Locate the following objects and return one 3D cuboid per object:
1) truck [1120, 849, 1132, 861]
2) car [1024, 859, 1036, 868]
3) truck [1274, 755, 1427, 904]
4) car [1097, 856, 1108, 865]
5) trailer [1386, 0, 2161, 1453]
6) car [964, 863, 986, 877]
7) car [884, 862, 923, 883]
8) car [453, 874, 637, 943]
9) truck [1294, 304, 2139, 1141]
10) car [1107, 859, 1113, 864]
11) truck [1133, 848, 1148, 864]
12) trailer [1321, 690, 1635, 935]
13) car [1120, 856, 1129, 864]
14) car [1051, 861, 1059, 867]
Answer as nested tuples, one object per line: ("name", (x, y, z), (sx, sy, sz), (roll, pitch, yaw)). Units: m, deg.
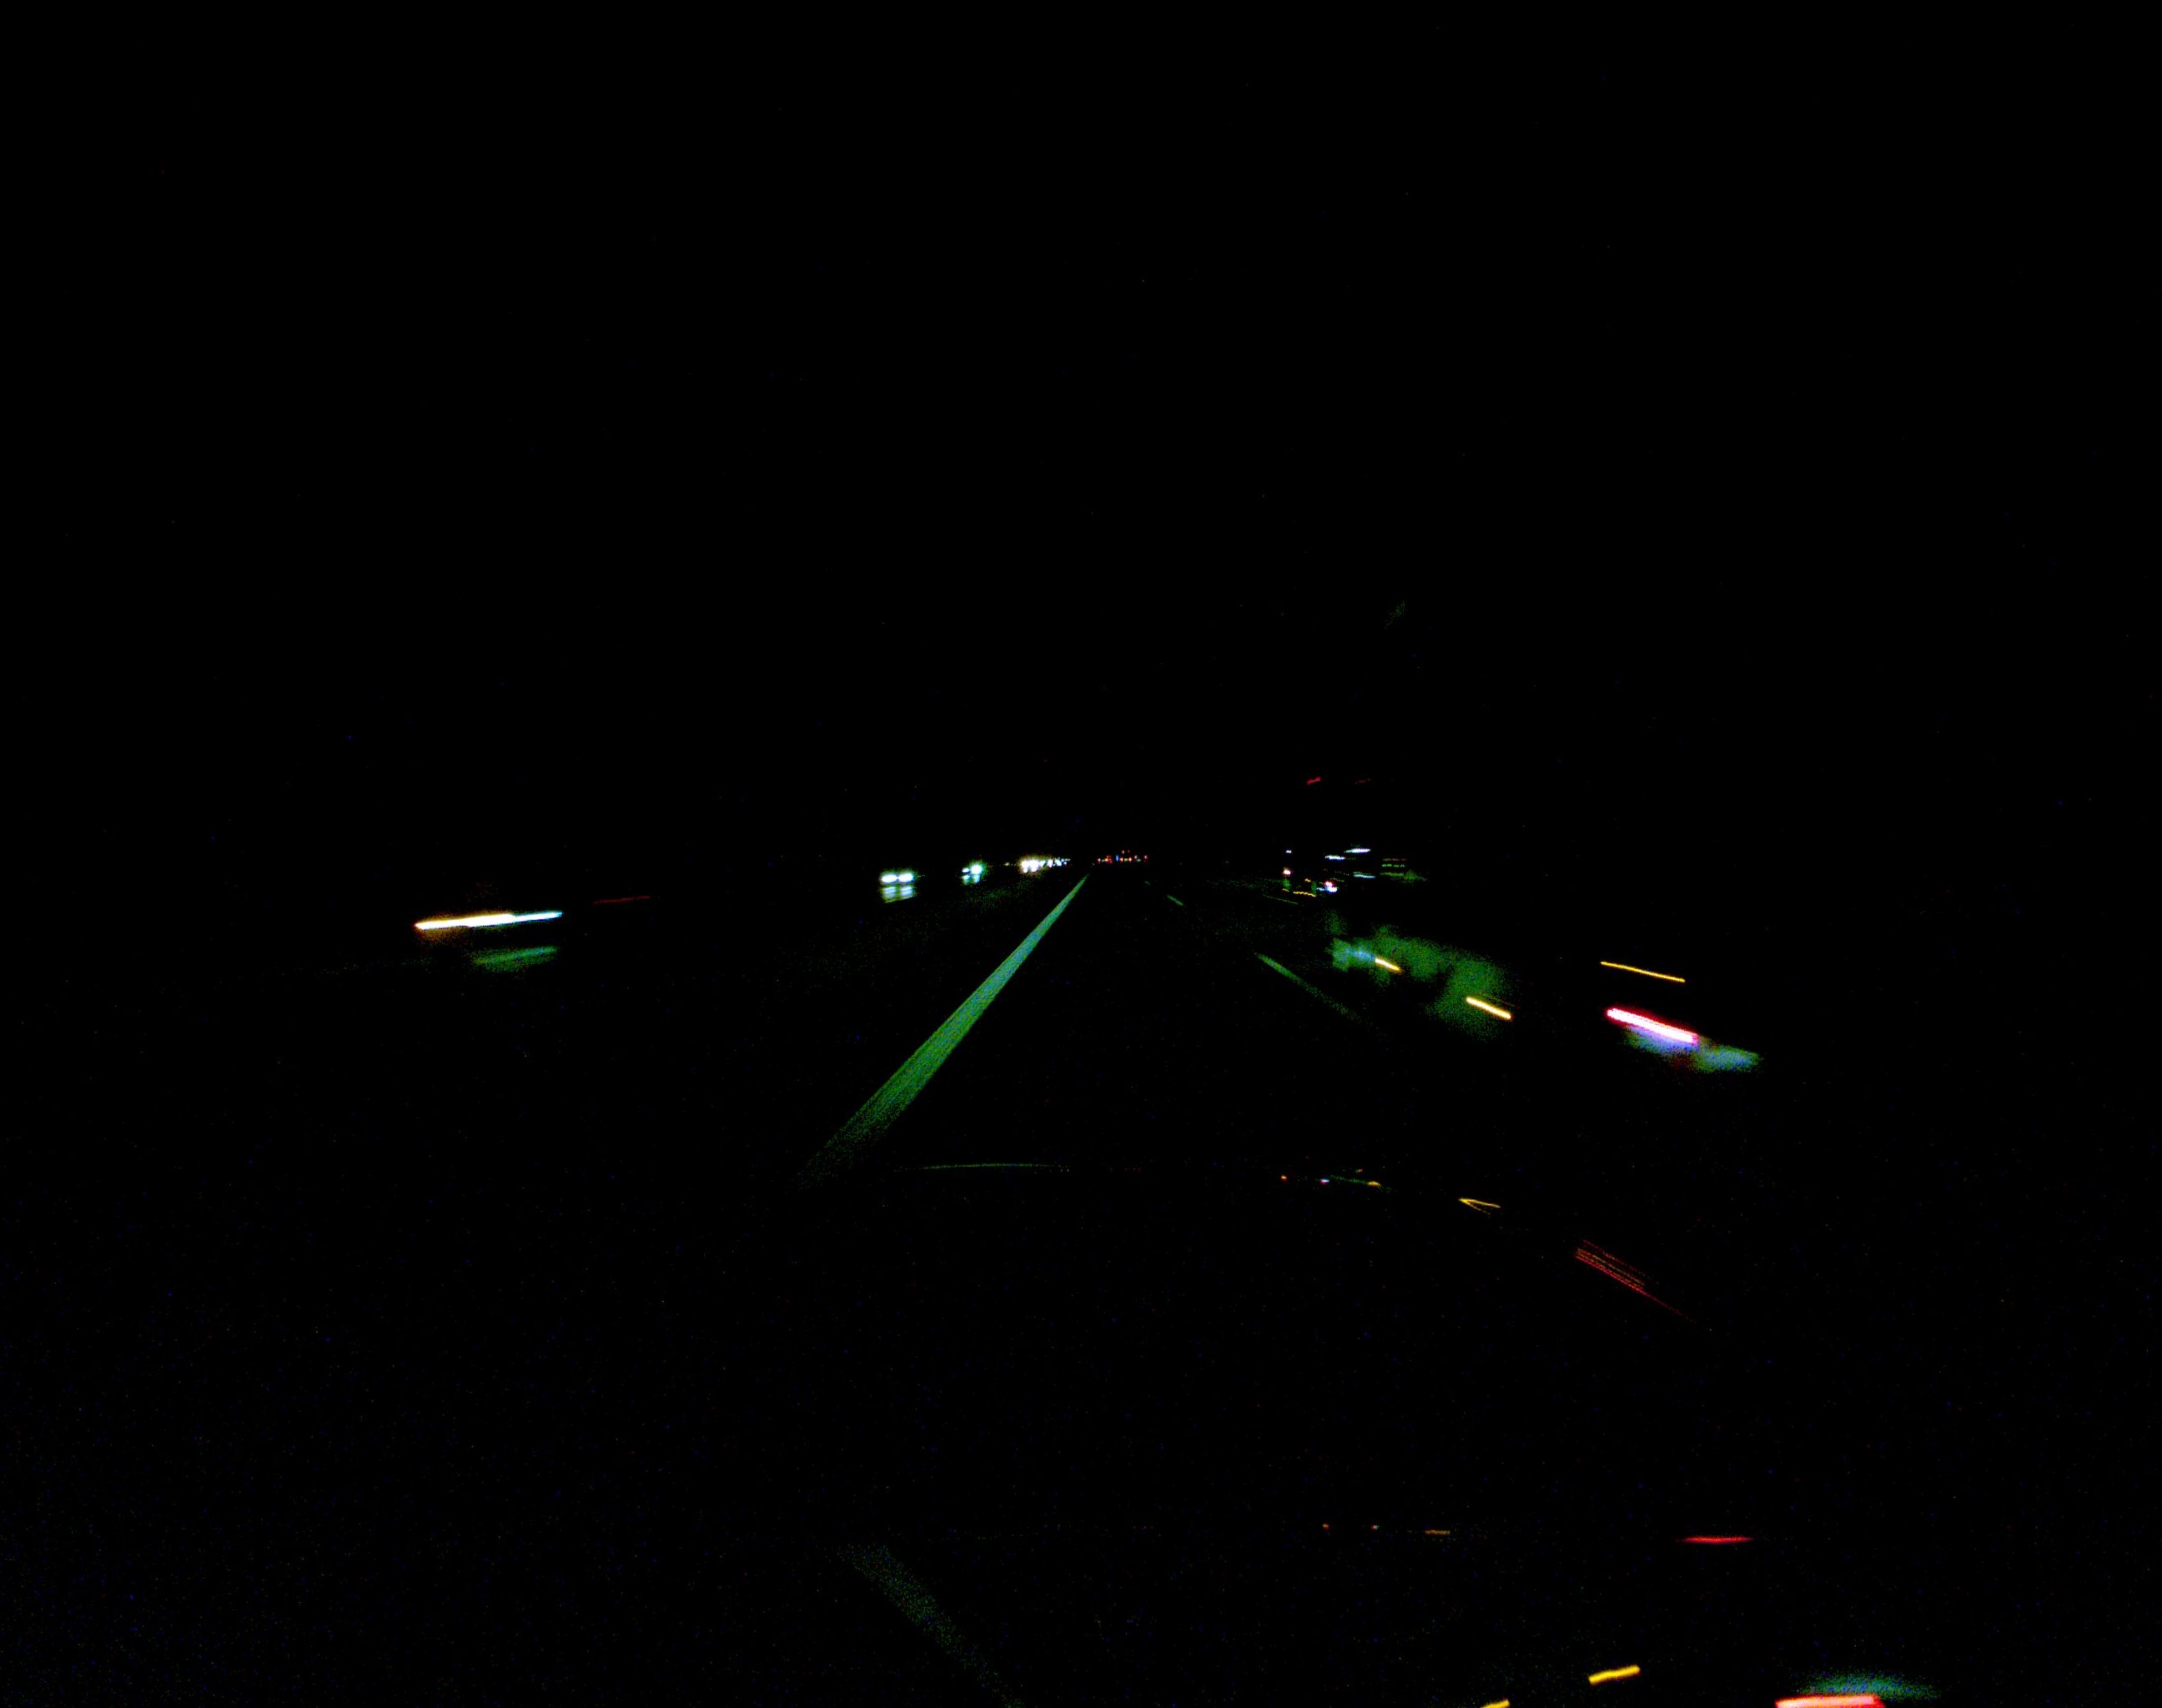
("truck", (12.665, 0.322, 230.332), (3.034, 3.325, 10.142), (0, 0, 1))
("car", (-8.500, 1.567, 135.660), (1.745, 1.478, 4.581), (-3, 0, 0))
("truck", (8.311, -0.659, 26.180), (2.581, 4.072, 7.676), (0, 0, 2))
("car", (3.637, 1.123, 138.543), (1.814, 1.466, 4.248), (0, 0, 1))
("trailer", (3.894, -0.681, 0.507), (2.732, 4.206, 13.515), (0, 0, 2))
("car", (-11.685, 1.736, 89.968), (1.626, 1.394, 4.877), (-3, 0, 0))
("car", (-12.756, 1.300, 58.801), (1.656, 1.334, 4.808), (-3, 0, 0))
("car", (-14.357, 1.392, 22.216), (1.744, 1.478, 4.727), (-3, 0, 1))
("truck", (4.071, -0.667, 7.464), (2.652, 4.206, 6.725), (0, 0, 2))
("car", (8.555, 2.272, 239.411), (1.814, 1.466, 4.248), (0, 0, 1))
("truck", (10.941, 0.482, 149.916), (2.070, 2.691, 7.303), (0, -2, -1))
("trailer", (8.108, -0.683, 18.617), (2.581, 4.072, 10.012), (0, 0, 2))
("car", (7.477, 1.022, 140.575), (1.341, 1.387, 3.502), (0, 0, 1))
("car", (-6.743, 2.601, 208.843), (1.745, 1.478, 4.581), (-3, 0, 0))
